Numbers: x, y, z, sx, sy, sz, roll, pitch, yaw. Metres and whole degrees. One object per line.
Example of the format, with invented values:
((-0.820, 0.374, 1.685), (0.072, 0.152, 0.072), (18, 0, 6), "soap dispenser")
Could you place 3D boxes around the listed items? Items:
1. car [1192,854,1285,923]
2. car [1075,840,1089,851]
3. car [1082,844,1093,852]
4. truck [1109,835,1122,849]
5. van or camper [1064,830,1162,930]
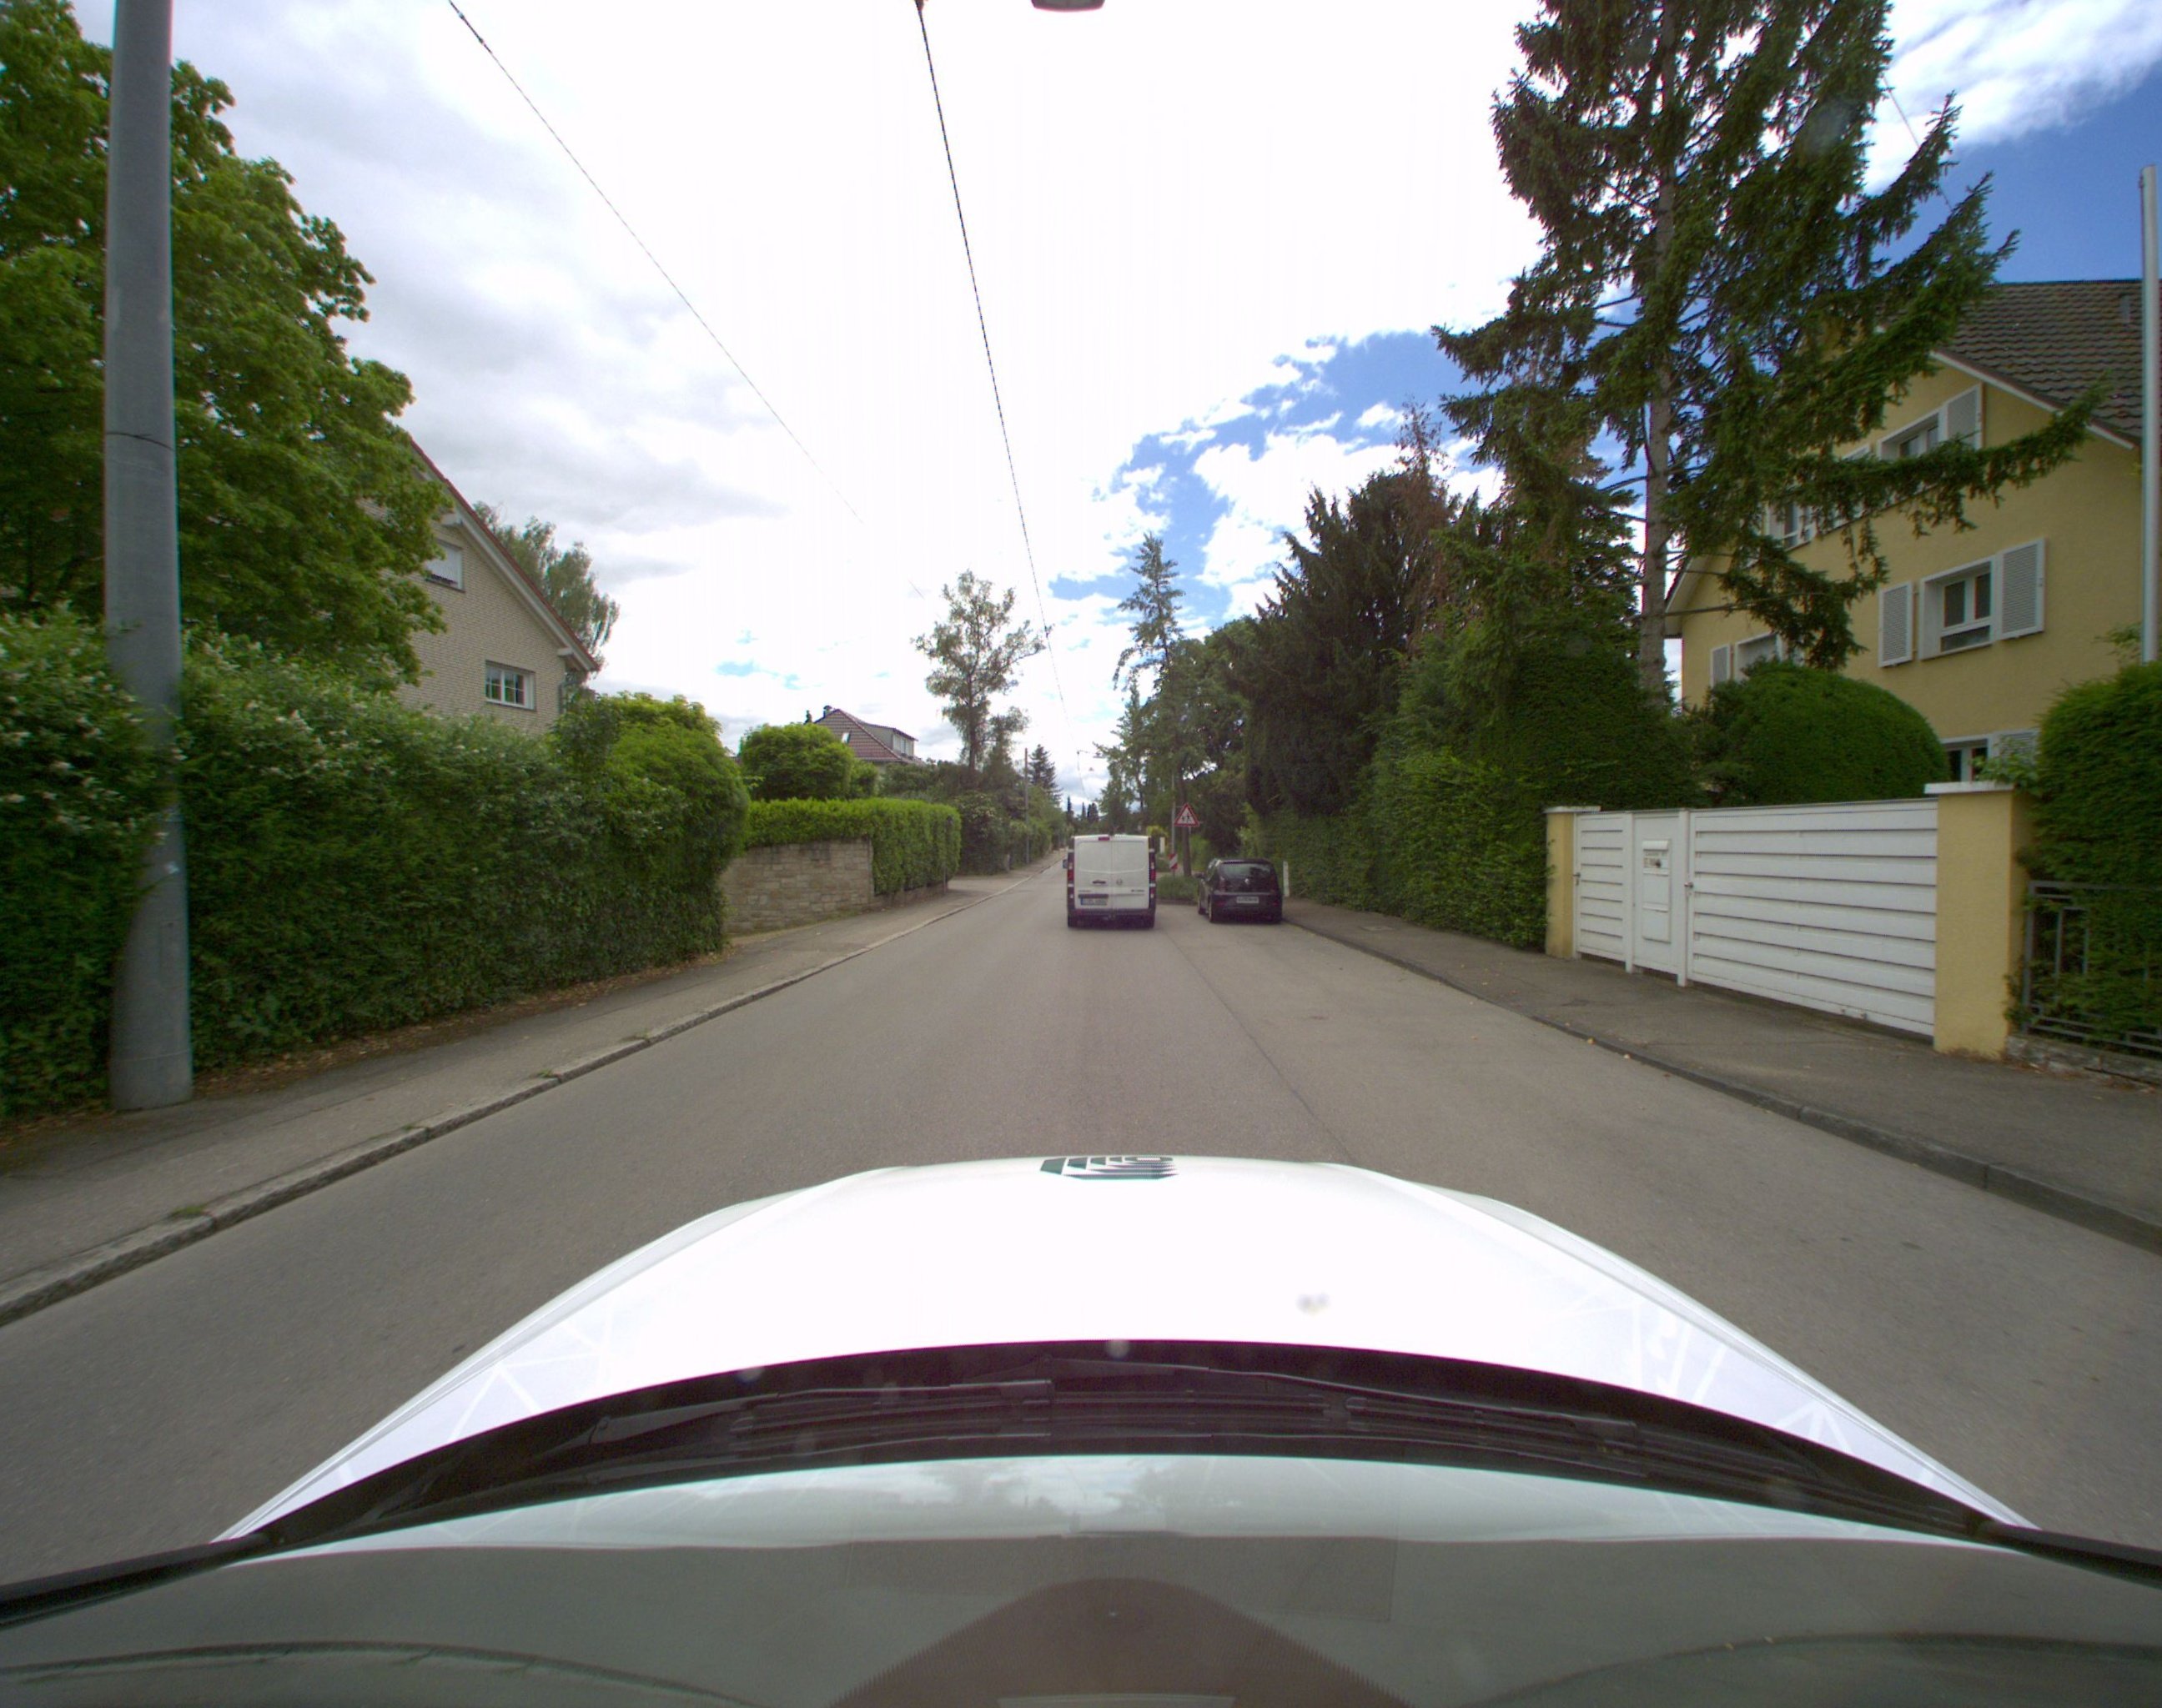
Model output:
((3.694, 0.754, 19.642), (1.617, 1.473, 3.741), (0, 1, 1), "car")
((0.218, -1.244, 119.563), (1.798, 1.431, 4.304), (-3, 1, 3), "car")
((1.158, -1.122, 148.866), (1.799, 1.431, 4.118), (-2, 0, 0), "car")
((6.261, -2.294, 149.665), (2.179, 2.471, 7.433), (0, 1, 1), "truck")
((0.661, 0.506, 18.474), (1.933, 1.954, 4.765), (0, 0, 0), "van or camper")
